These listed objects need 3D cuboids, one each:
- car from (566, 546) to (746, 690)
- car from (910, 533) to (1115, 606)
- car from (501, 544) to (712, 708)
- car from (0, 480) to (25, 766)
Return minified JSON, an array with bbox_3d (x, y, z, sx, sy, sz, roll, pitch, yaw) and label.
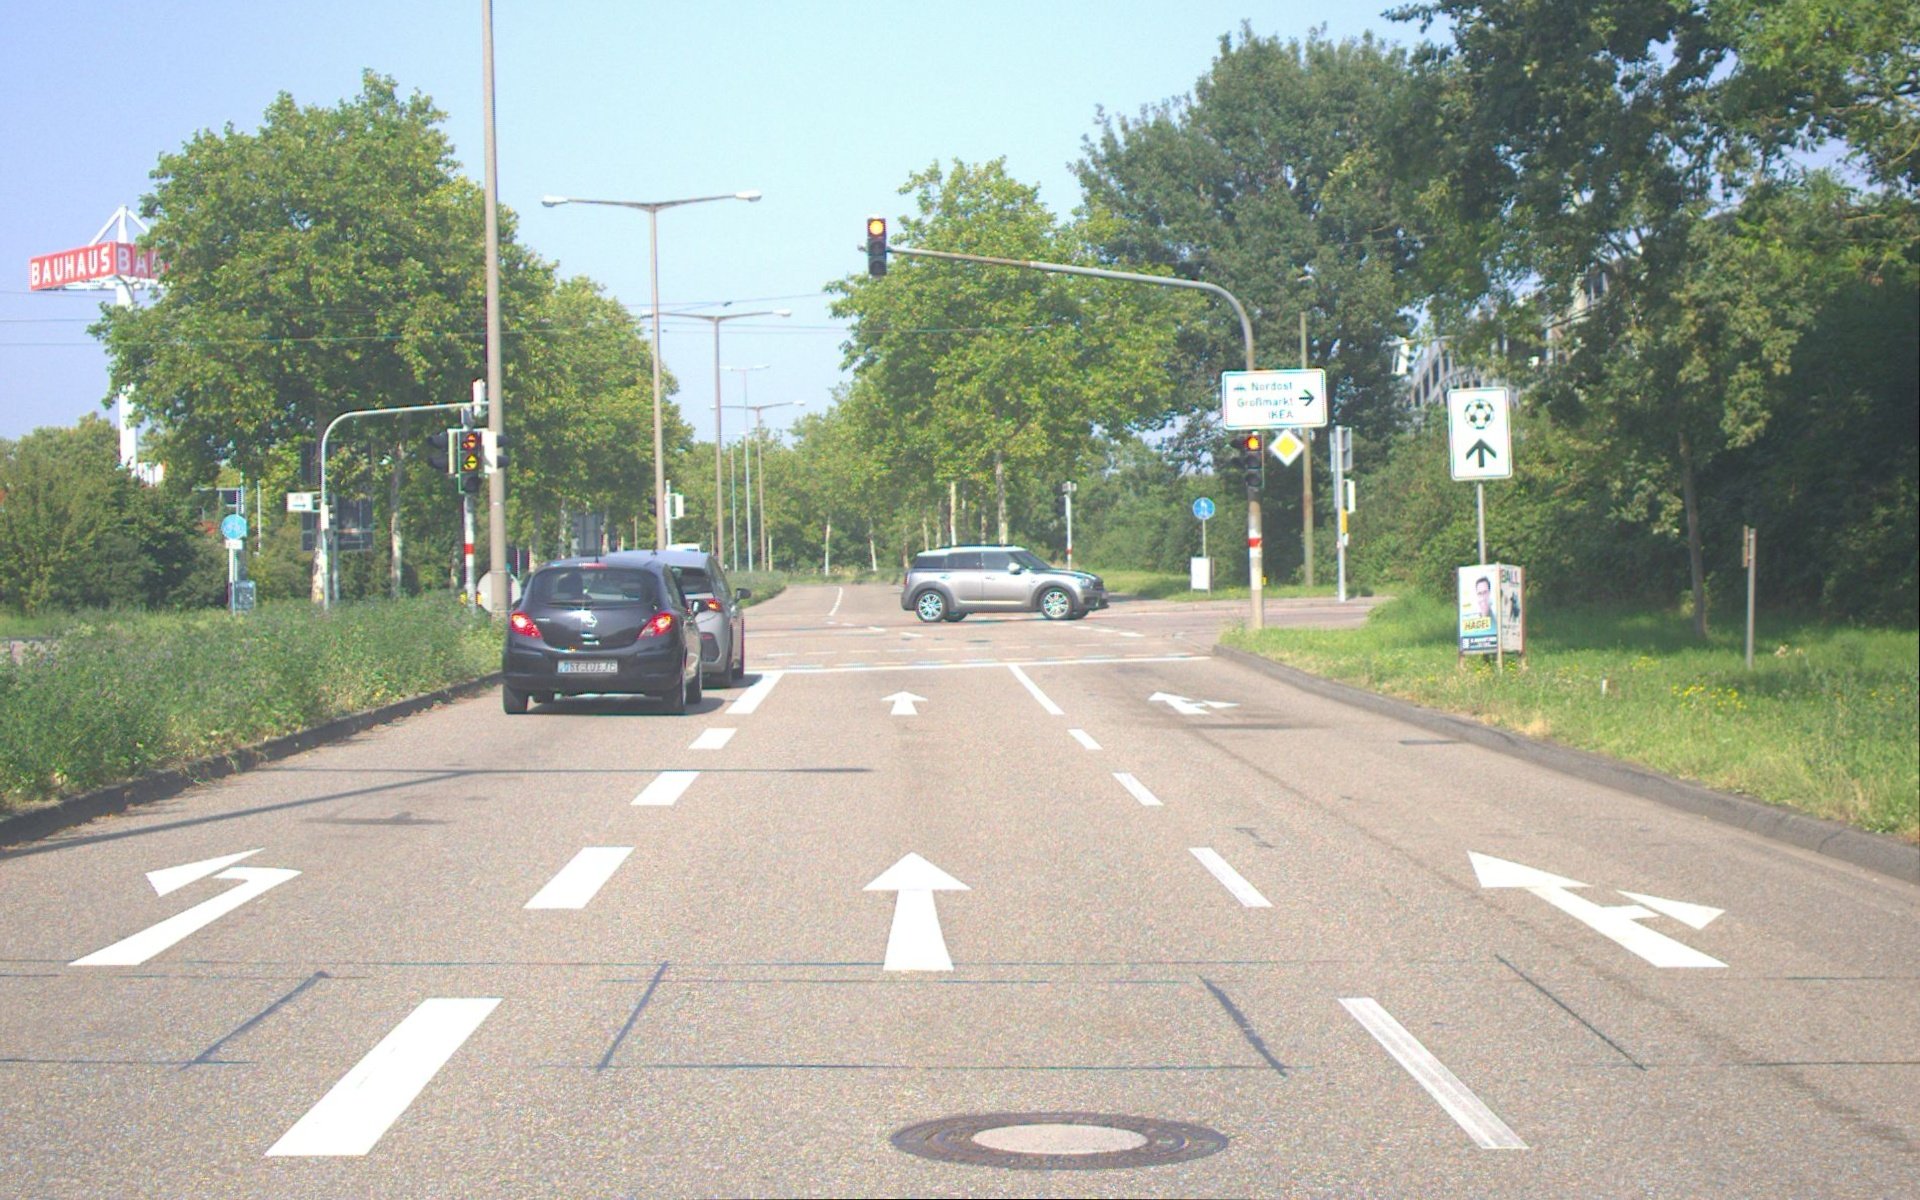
[{"bbox_3d":[-3.361,0.157,38.548,1.692,1.481,4.000,-2,1,-1],"label":"car"},{"bbox_3d":[1.089,-0.637,71.403,3.969,1.481,1.624,0,1,17],"label":"car"},{"bbox_3d":[-3.352,0.214,33.210,1.692,1.481,4.000,0,1,-1],"label":"car"},{"bbox_3d":[-8.800,0.218,25.549,2.112,2.325,6.283,0,1,-1],"label":"car"}]
